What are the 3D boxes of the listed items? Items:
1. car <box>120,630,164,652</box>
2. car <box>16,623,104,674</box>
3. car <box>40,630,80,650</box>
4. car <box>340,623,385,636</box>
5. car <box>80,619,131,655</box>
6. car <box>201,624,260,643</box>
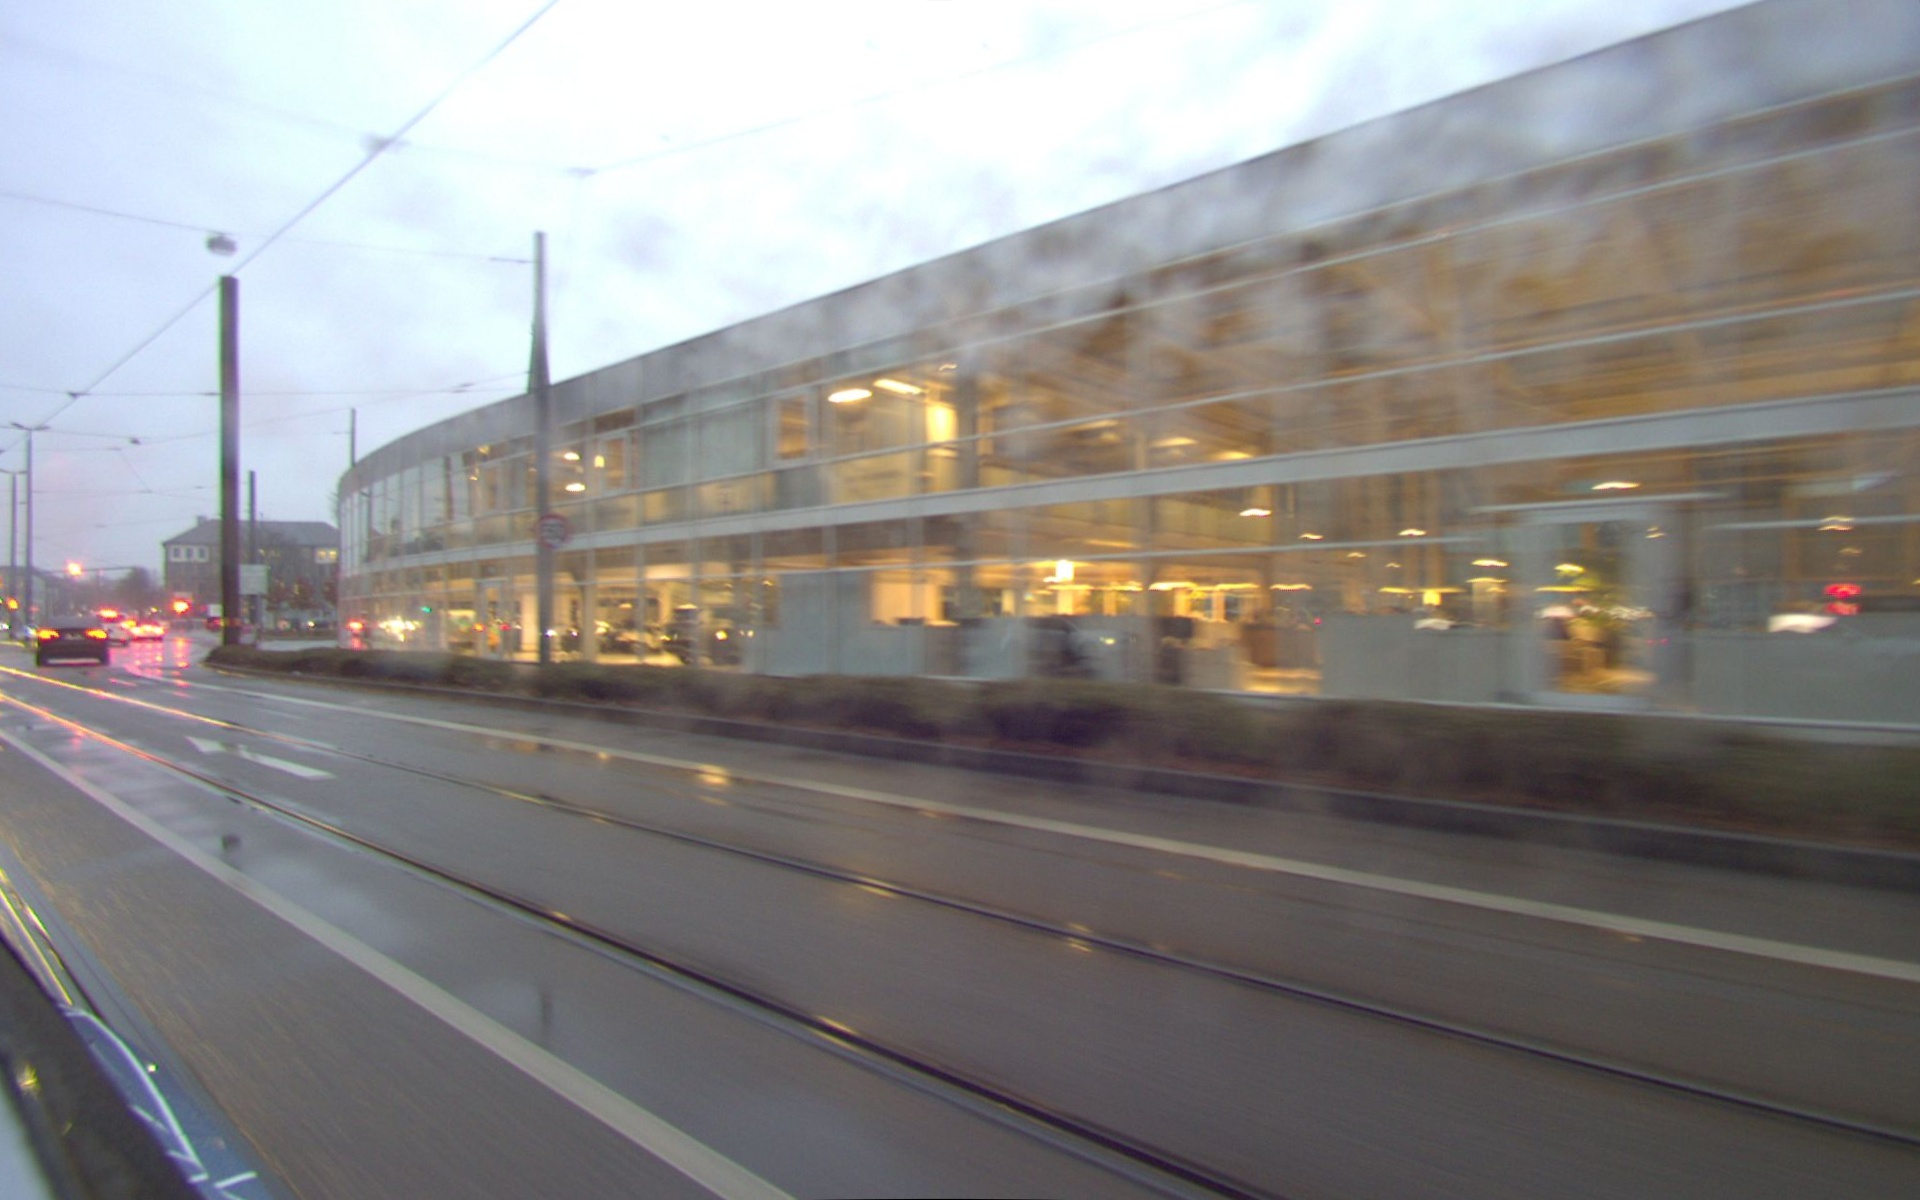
[{"bbox_3d":[-58.840,2.908,72.757,4.589,1.432,1.971,-1,-1,44],"label":"car"},{"bbox_3d":[-30.302,1.571,34.037,4.442,1.590,1.821,-1,-1,43],"label":"car"},{"bbox_3d":[-65.655,2.877,73.795,4.001,1.401,1.850,-1,-3,44],"label":"car"},{"bbox_3d":[-68.358,3.367,115.804,3.949,1.320,1.997,-1,0,5],"label":"car"},{"bbox_3d":[-52.075,2.197,61.647,1.971,2.029,4.687,-1,0,-45],"label":"car"},{"bbox_3d":[-82.508,3.767,114.548,1.981,2.029,5.528,-1,0,14],"label":"car"}]
